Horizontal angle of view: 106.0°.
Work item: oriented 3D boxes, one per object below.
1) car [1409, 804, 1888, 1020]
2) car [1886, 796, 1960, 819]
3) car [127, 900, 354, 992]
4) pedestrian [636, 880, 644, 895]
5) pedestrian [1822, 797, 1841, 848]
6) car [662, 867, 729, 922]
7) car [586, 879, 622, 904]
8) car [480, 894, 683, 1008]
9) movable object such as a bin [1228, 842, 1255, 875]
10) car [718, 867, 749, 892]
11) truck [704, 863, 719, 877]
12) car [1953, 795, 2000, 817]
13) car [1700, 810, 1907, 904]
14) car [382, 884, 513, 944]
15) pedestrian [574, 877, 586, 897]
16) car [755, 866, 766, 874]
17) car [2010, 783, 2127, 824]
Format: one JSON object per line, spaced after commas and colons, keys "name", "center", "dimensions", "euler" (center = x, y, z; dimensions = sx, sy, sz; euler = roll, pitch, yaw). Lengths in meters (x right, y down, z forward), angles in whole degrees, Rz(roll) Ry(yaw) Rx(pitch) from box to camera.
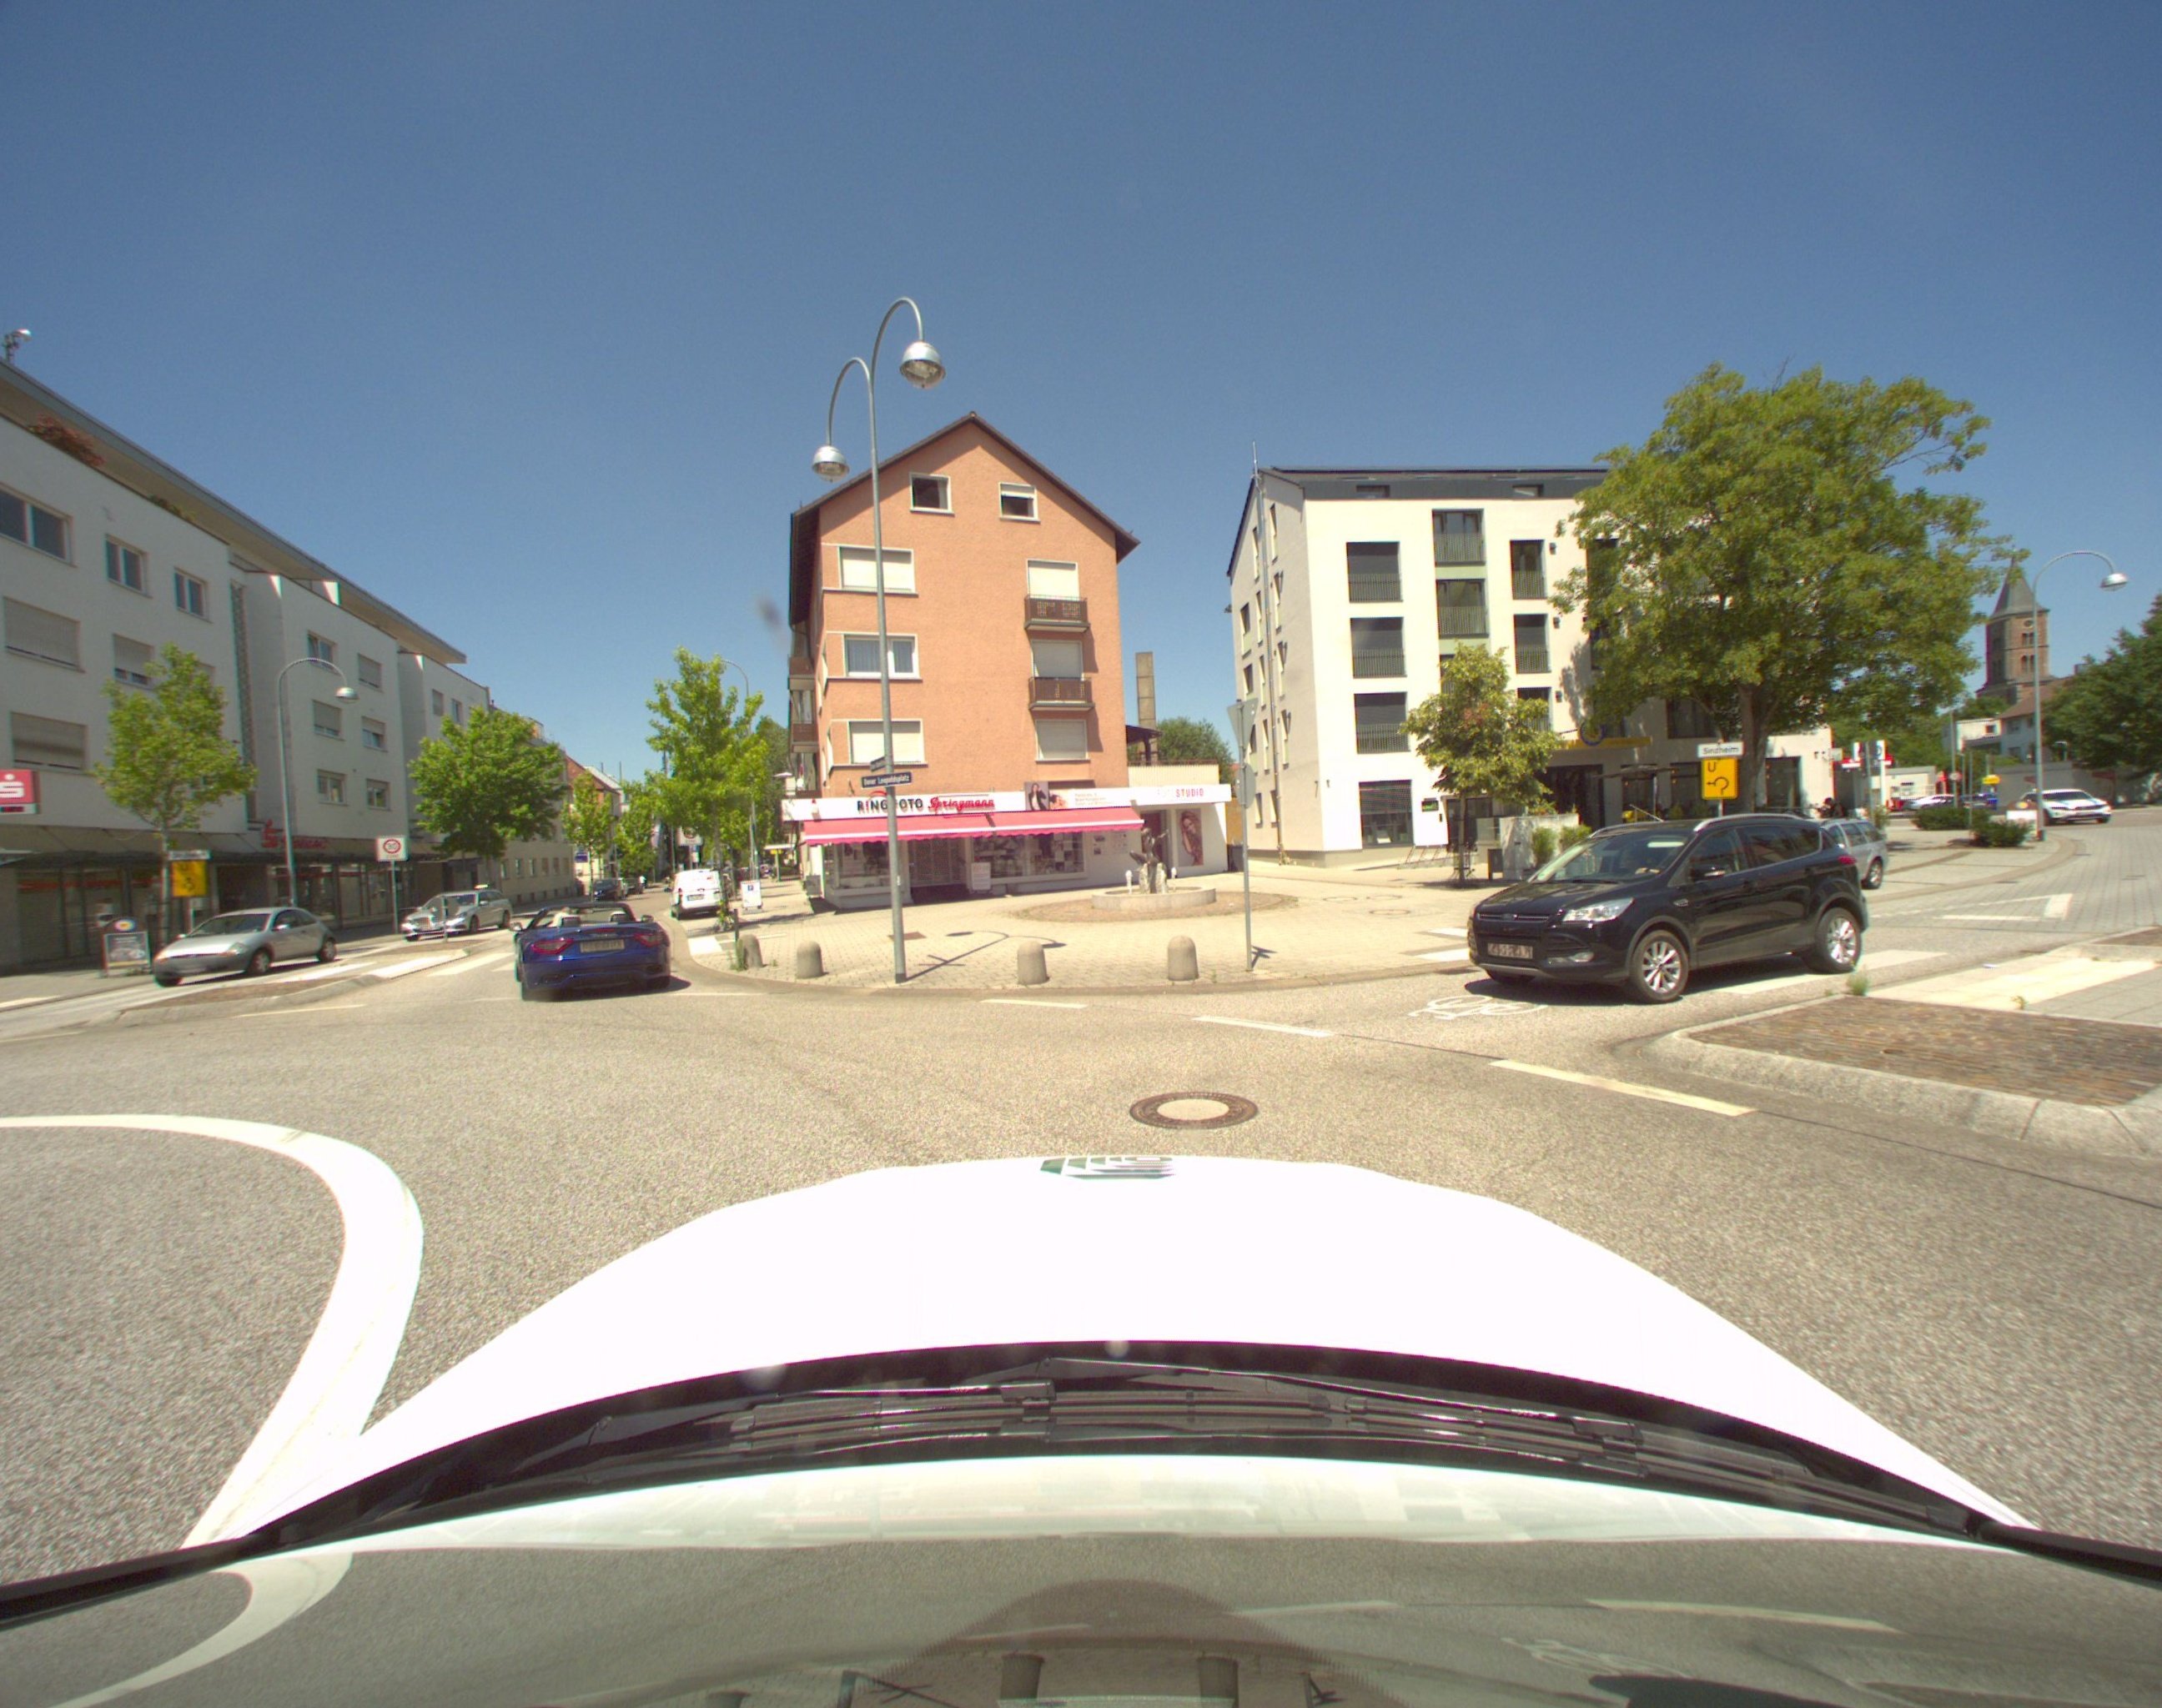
{"name": "car", "center": [6.029, 0.463, 8.692], "dimensions": [4.530, 1.688, 1.985], "euler": [-3, 0, -22]}
{"name": "car", "center": [71.779, -3.983, 69.511], "dimensions": [3.958, 1.650, 2.008], "euler": [-3, 3, 14]}
{"name": "car", "center": [-18.328, 1.928, 18.033], "dimensions": [1.703, 1.458, 3.769], "euler": [-5, 1, -15]}
{"name": "pedestrian", "center": [-45.939, 3.478, 84.920], "dimensions": [0.581, 1.474, 0.560], "euler": [-3, 0, -21]}
{"name": "pedestrian", "center": [24.530, -1.032, 26.619], "dimensions": [0.655, 1.628, 0.401], "euler": [-7, 4, -44]}
{"name": "car", "center": [-14.064, 1.428, 29.612], "dimensions": [1.759, 1.724, 3.872], "euler": [-6, 1, -30]}
{"name": "car", "center": [-36.180, 2.805, 61.877], "dimensions": [1.735, 1.740, 4.360], "euler": [-1, 0, -22]}
{"name": "car", "center": [-8.084, 1.406, 12.960], "dimensions": [1.993, 1.398, 4.571], "euler": [0, -3, -41]}
{"name": "movable object such as a bin", "center": [6.030, 0.174, 30.667], "dimensions": [0.757, 1.155, 0.773], "euler": [-4, 3, -3]}
{"name": "car", "center": [-30.560, 2.226, 71.726], "dimensions": [2.000, 1.798, 4.541], "euler": [-5, 3, -18]}
{"name": "truck", "center": [-61.950, 2.614, 136.582], "dimensions": [1.811, 2.117, 4.683], "euler": [-5, 2, -20]}
{"name": "car", "center": [63.634, -3.411, 57.920], "dimensions": [1.525, 1.378, 4.026], "euler": [-3, 1, 37]}
{"name": "car", "center": [14.822, -0.012, 16.686], "dimensions": [4.008, 1.589, 1.786], "euler": [-4, 3, -26]}
{"name": "car", "center": [-21.398, 1.950, 27.801], "dimensions": [2.000, 1.592, 4.965], "euler": [-3, 0, -20]}
{"name": "pedestrian", "center": [-44.255, 2.885, 71.963], "dimensions": [0.661, 1.680, 0.624], "euler": [-6, 4, -38]}
{"name": "car", "center": [-66.113, 3.297, 167.911], "dimensions": [1.958, 1.476, 4.108], "euler": [-5, 1, -21]}
{"name": "car", "center": [43.555, -2.189, 36.046], "dimensions": [1.814, 1.574, 4.025], "euler": [-4, 1, 27]}
